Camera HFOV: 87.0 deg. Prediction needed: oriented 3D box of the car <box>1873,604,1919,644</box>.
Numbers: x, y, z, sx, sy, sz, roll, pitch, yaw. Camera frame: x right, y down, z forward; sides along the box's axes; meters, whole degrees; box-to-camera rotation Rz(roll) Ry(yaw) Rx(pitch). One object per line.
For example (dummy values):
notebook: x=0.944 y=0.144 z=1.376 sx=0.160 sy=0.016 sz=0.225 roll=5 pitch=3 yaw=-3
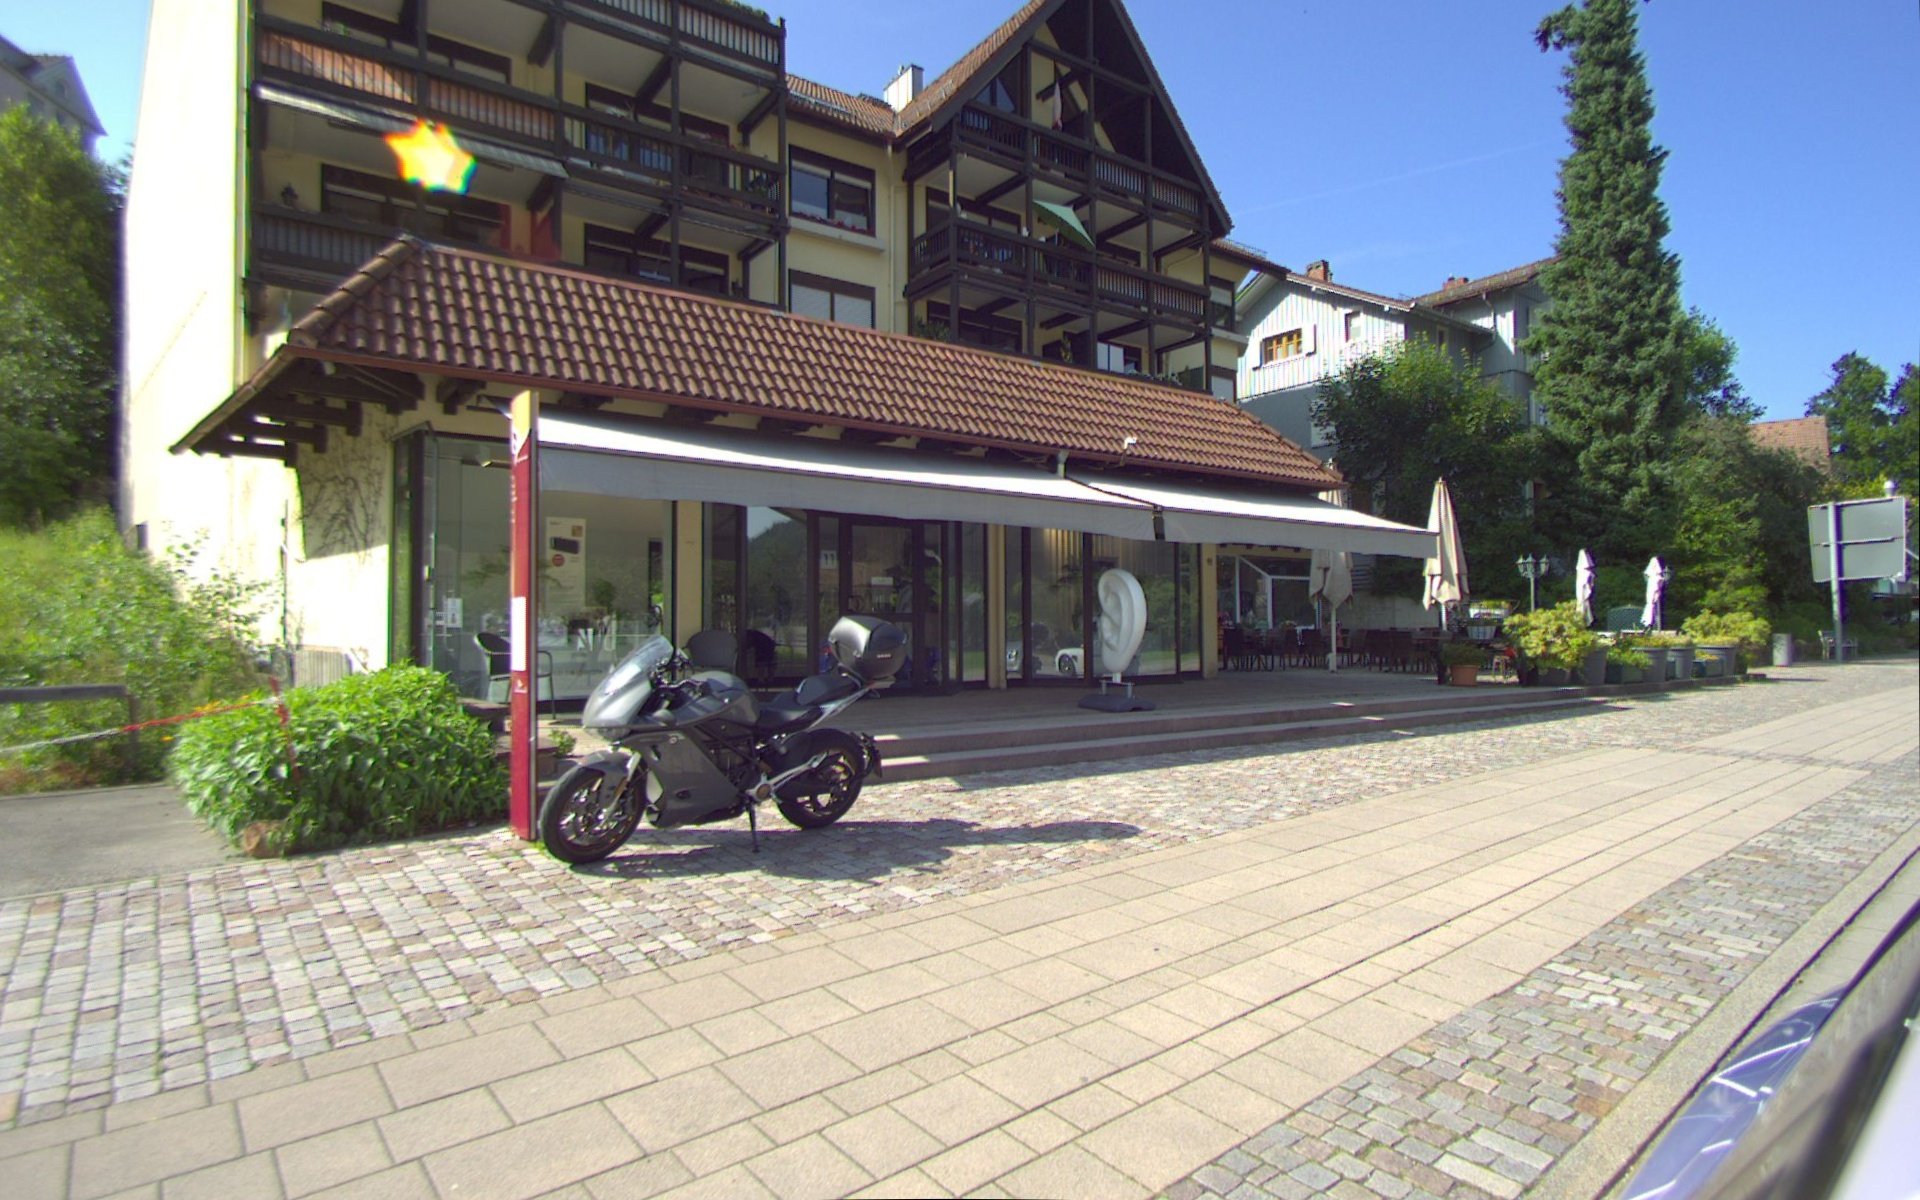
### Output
car: x=39.234 y=0.950 z=40.402 sx=1.717 sy=1.600 sz=3.883 roll=1 pitch=-1 yaw=-39

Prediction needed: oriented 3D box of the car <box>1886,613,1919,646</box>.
car: x=42.998 y=1.279 z=43.625 sx=1.676 sy=1.396 sz=4.276 roll=0 pitch=-1 yaw=-34

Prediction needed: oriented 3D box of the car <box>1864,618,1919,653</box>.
car: x=40.751 y=1.491 z=42.290 sx=1.715 sy=1.433 sz=4.123 roll=0 pitch=-1 yaw=-34

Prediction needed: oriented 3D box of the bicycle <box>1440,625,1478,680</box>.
bicycle: x=8.408 y=0.863 z=17.025 sx=0.394 sy=0.853 sz=1.597 roll=-2 pitch=-2 yaw=32

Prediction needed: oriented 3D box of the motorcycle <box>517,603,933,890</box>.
motorcycle: x=-1.229 y=0.689 z=5.671 sx=2.173 sy=1.312 sz=0.698 roll=1 pitch=1 yaw=-40

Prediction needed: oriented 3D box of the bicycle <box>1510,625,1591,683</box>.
bicycle: x=9.466 y=0.850 z=16.203 sx=1.584 sy=0.875 sz=0.398 roll=0 pitch=-2 yaw=-31
